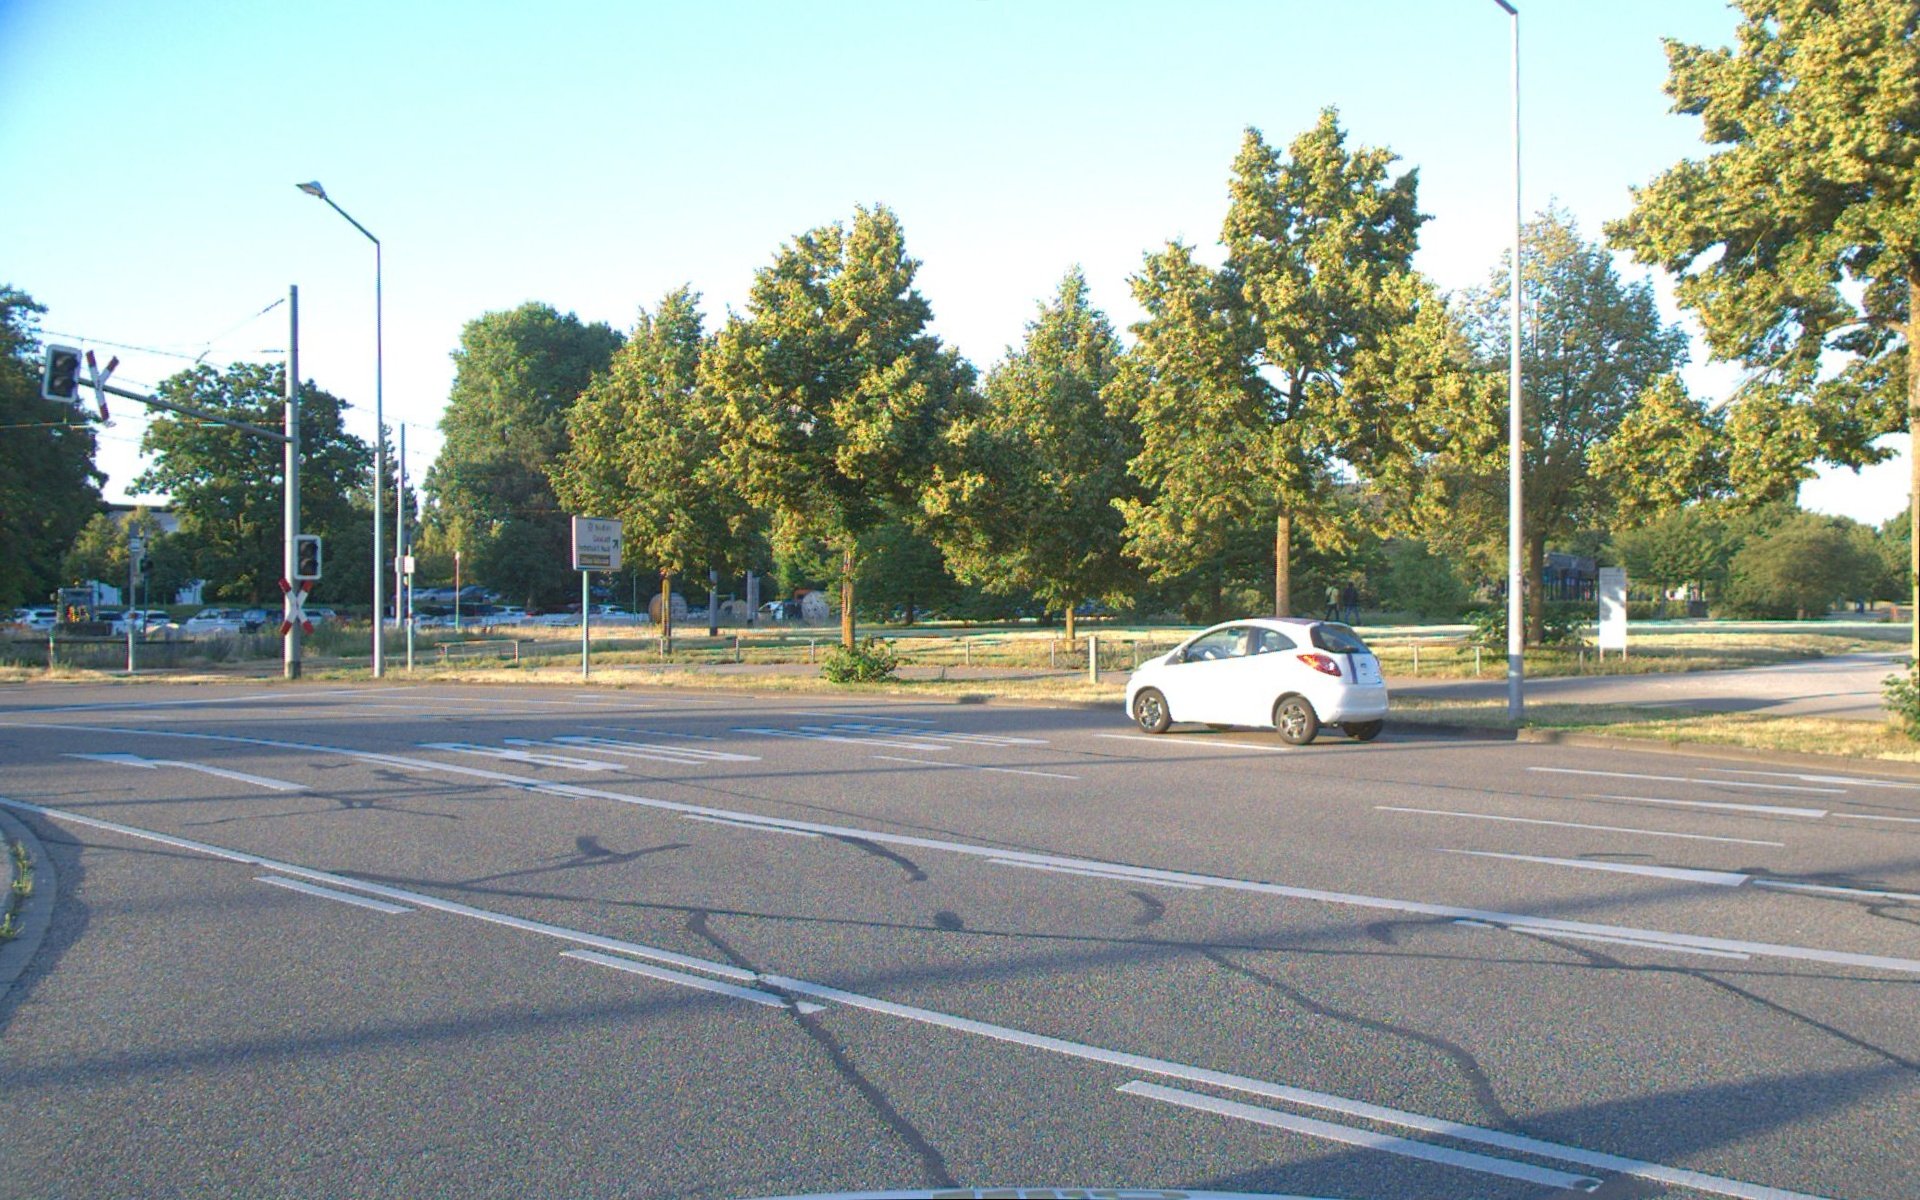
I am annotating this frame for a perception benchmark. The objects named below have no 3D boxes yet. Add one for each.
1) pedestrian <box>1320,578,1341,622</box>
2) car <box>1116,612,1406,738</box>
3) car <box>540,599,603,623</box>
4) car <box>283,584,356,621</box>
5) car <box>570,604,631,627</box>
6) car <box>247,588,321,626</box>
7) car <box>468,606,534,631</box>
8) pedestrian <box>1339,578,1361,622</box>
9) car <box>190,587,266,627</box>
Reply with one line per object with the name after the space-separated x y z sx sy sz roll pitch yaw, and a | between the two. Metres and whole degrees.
14.064 0.007 62.788 0.573 1.655 0.527 0 0 -32 | pedestrian
3.779 0.893 21.100 1.542 1.468 3.431 1 -1 -43 | car
-26.736 0.736 113.772 3.913 1.578 1.996 0 0 30 | car
-37.268 0.142 96.214 3.914 2.135 1.995 0 0 31 | car
-25.057 1.043 115.289 3.913 1.578 1.996 0 0 30 | car
-38.295 0.386 93.668 3.914 2.135 1.995 0 0 31 | car
-29.796 1.190 107.461 3.913 1.578 1.996 0 0 30 | car
14.792 0.010 62.784 0.612 1.655 0.525 0 0 -31 | pedestrian
-40.215 0.375 90.861 3.914 2.135 1.995 0 0 31 | car
